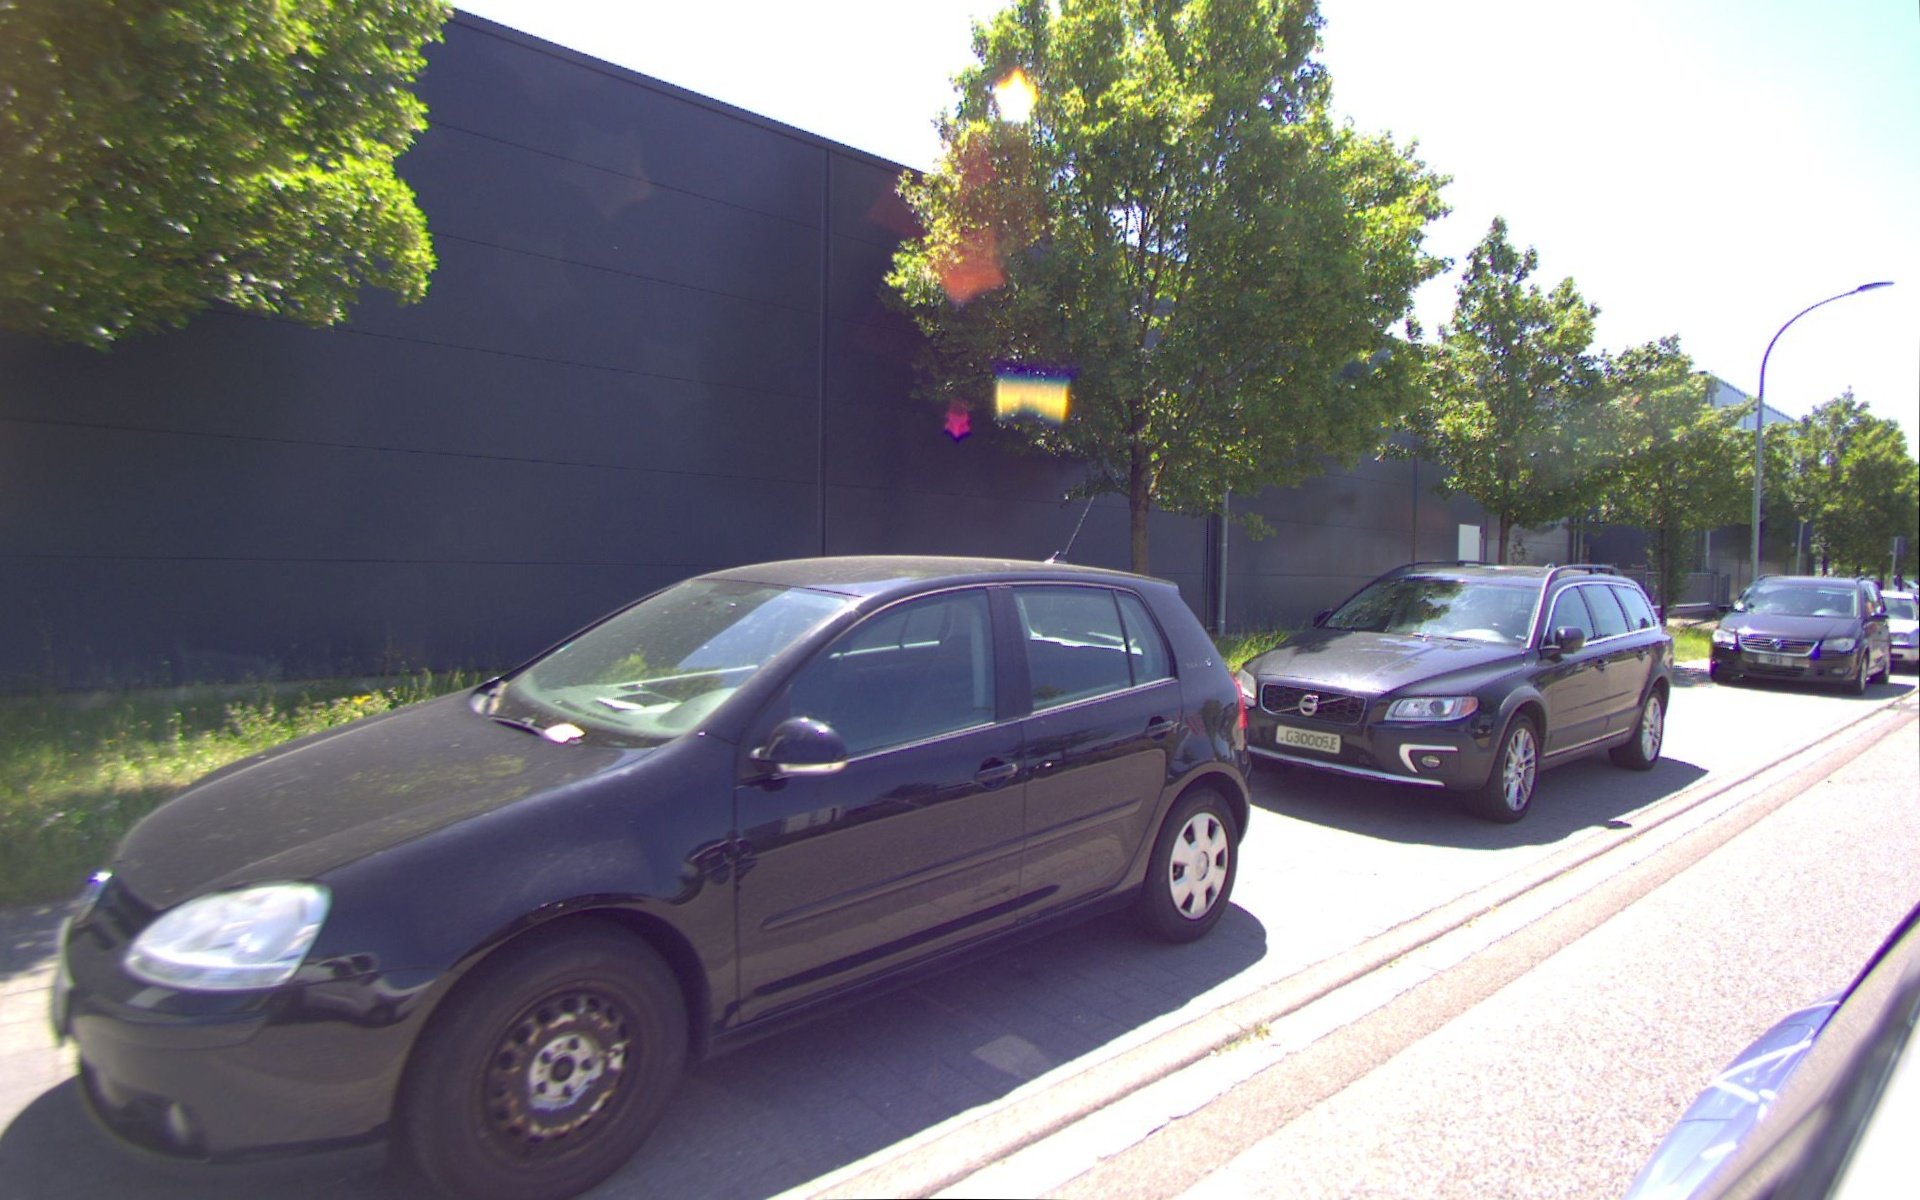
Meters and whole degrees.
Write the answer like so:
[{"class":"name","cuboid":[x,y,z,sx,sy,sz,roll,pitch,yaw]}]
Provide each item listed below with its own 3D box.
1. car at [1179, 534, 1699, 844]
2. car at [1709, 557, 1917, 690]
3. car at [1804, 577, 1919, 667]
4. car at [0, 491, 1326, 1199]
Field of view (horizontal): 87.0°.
[{"class":"car","cuboid":[3.812,0.410,7.599,4.633,1.637,1.811,-1,4,-42]},{"class":"car","cuboid":[12.930,0.263,15.252,4.292,1.690,1.741,-1,3,-42]},{"class":"car","cuboid":[17.533,0.352,19.181,4.117,1.475,1.710,-1,3,-42]},{"class":"car","cuboid":[-0.552,0.503,3.660,4.195,1.494,1.695,-1,4,-42]}]
